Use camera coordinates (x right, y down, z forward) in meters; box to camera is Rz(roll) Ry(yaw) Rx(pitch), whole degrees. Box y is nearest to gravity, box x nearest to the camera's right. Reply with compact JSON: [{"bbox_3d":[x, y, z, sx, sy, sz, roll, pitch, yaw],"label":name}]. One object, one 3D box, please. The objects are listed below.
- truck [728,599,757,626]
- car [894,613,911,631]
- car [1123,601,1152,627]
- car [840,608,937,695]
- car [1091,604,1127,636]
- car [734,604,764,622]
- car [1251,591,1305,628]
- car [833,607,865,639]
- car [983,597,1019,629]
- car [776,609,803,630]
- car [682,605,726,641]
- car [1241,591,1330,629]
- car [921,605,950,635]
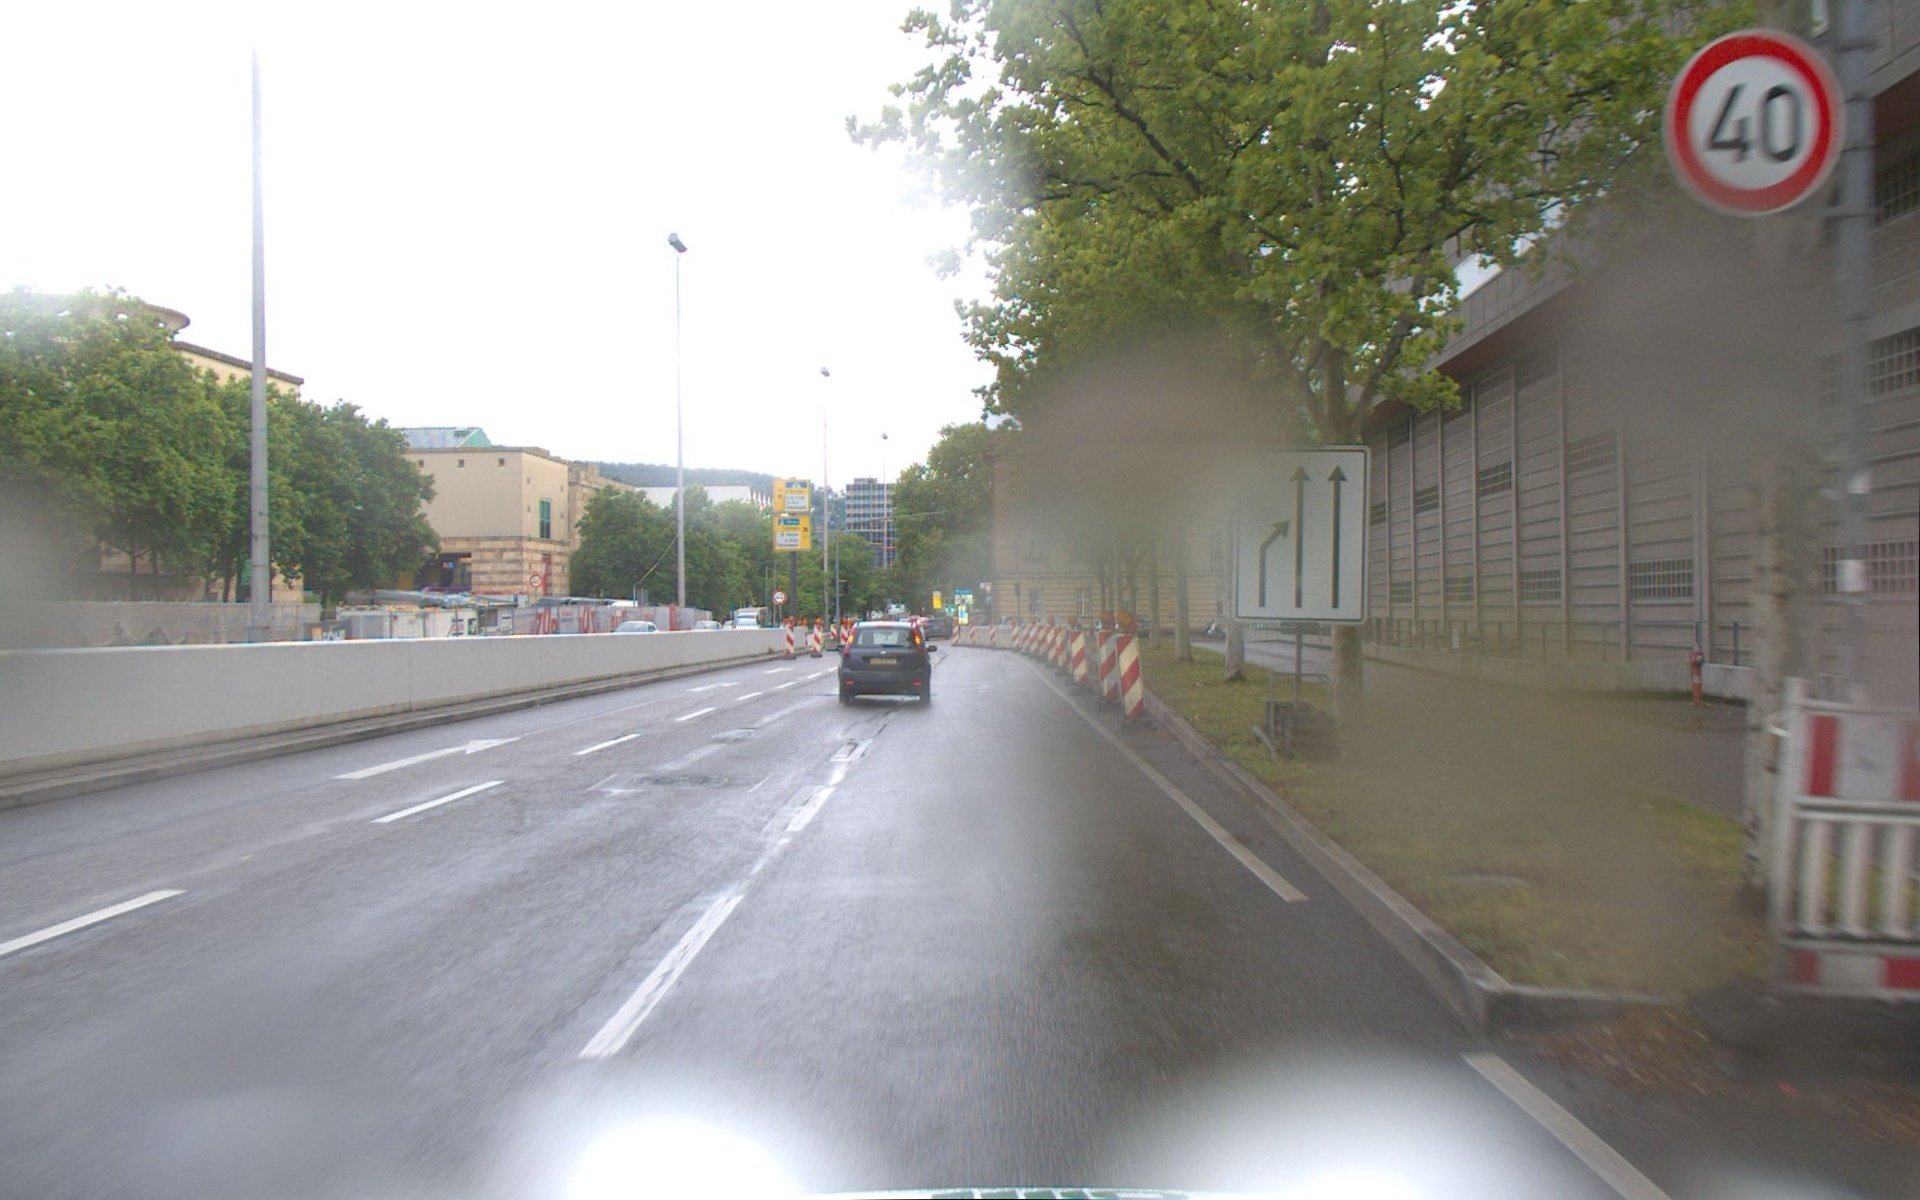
[{"bbox_3d":[-20.865,1.255,158.811,2.365,2.380,5.439,2,-2,-4],"label":"truck"},{"bbox_3d":[-7.151,2.738,204.911,1.954,2.049,3.996,2,-2,-4],"label":"car"},{"bbox_3d":[12.384,1.020,115.614,1.951,1.739,4.002,1,-1,5],"label":"car"},{"bbox_3d":[-1.362,0.900,30.189,1.637,1.452,3.754,-1,-1,-4],"label":"car"},{"bbox_3d":[8.521,1.115,94.416,1.951,1.738,4.003,1,1,5],"label":"car"},{"bbox_3d":[-14.495,0.886,113.659,1.593,1.216,3.405,1,0,0],"label":"car"},{"bbox_3d":[16.765,0.535,87.349,1.952,1.791,5.097,-1,-2,1],"label":"car"},{"bbox_3d":[-5.000,1.046,74.621,1.358,1.411,3.065,-1,-1,-3],"label":"car"},{"bbox_3d":[2.340,0.740,95.150,1.952,1.738,4.000,1,1,1],"label":"car"},{"bbox_3d":[-13.215,1.523,128.532,1.634,1.548,3.999,1,0,0],"label":"car"},{"bbox_3d":[-15.064,1.361,97.535,1.952,2.049,4.000,1,0,0],"label":"car"},{"bbox_3d":[15.600,0.478,79.417,3.904,1.587,1.933,-2,-3,1],"label":"car"},{"bbox_3d":[-1.757,1.409,118.587,1.952,2.049,4.000,1,0,1],"label":"car"}]
